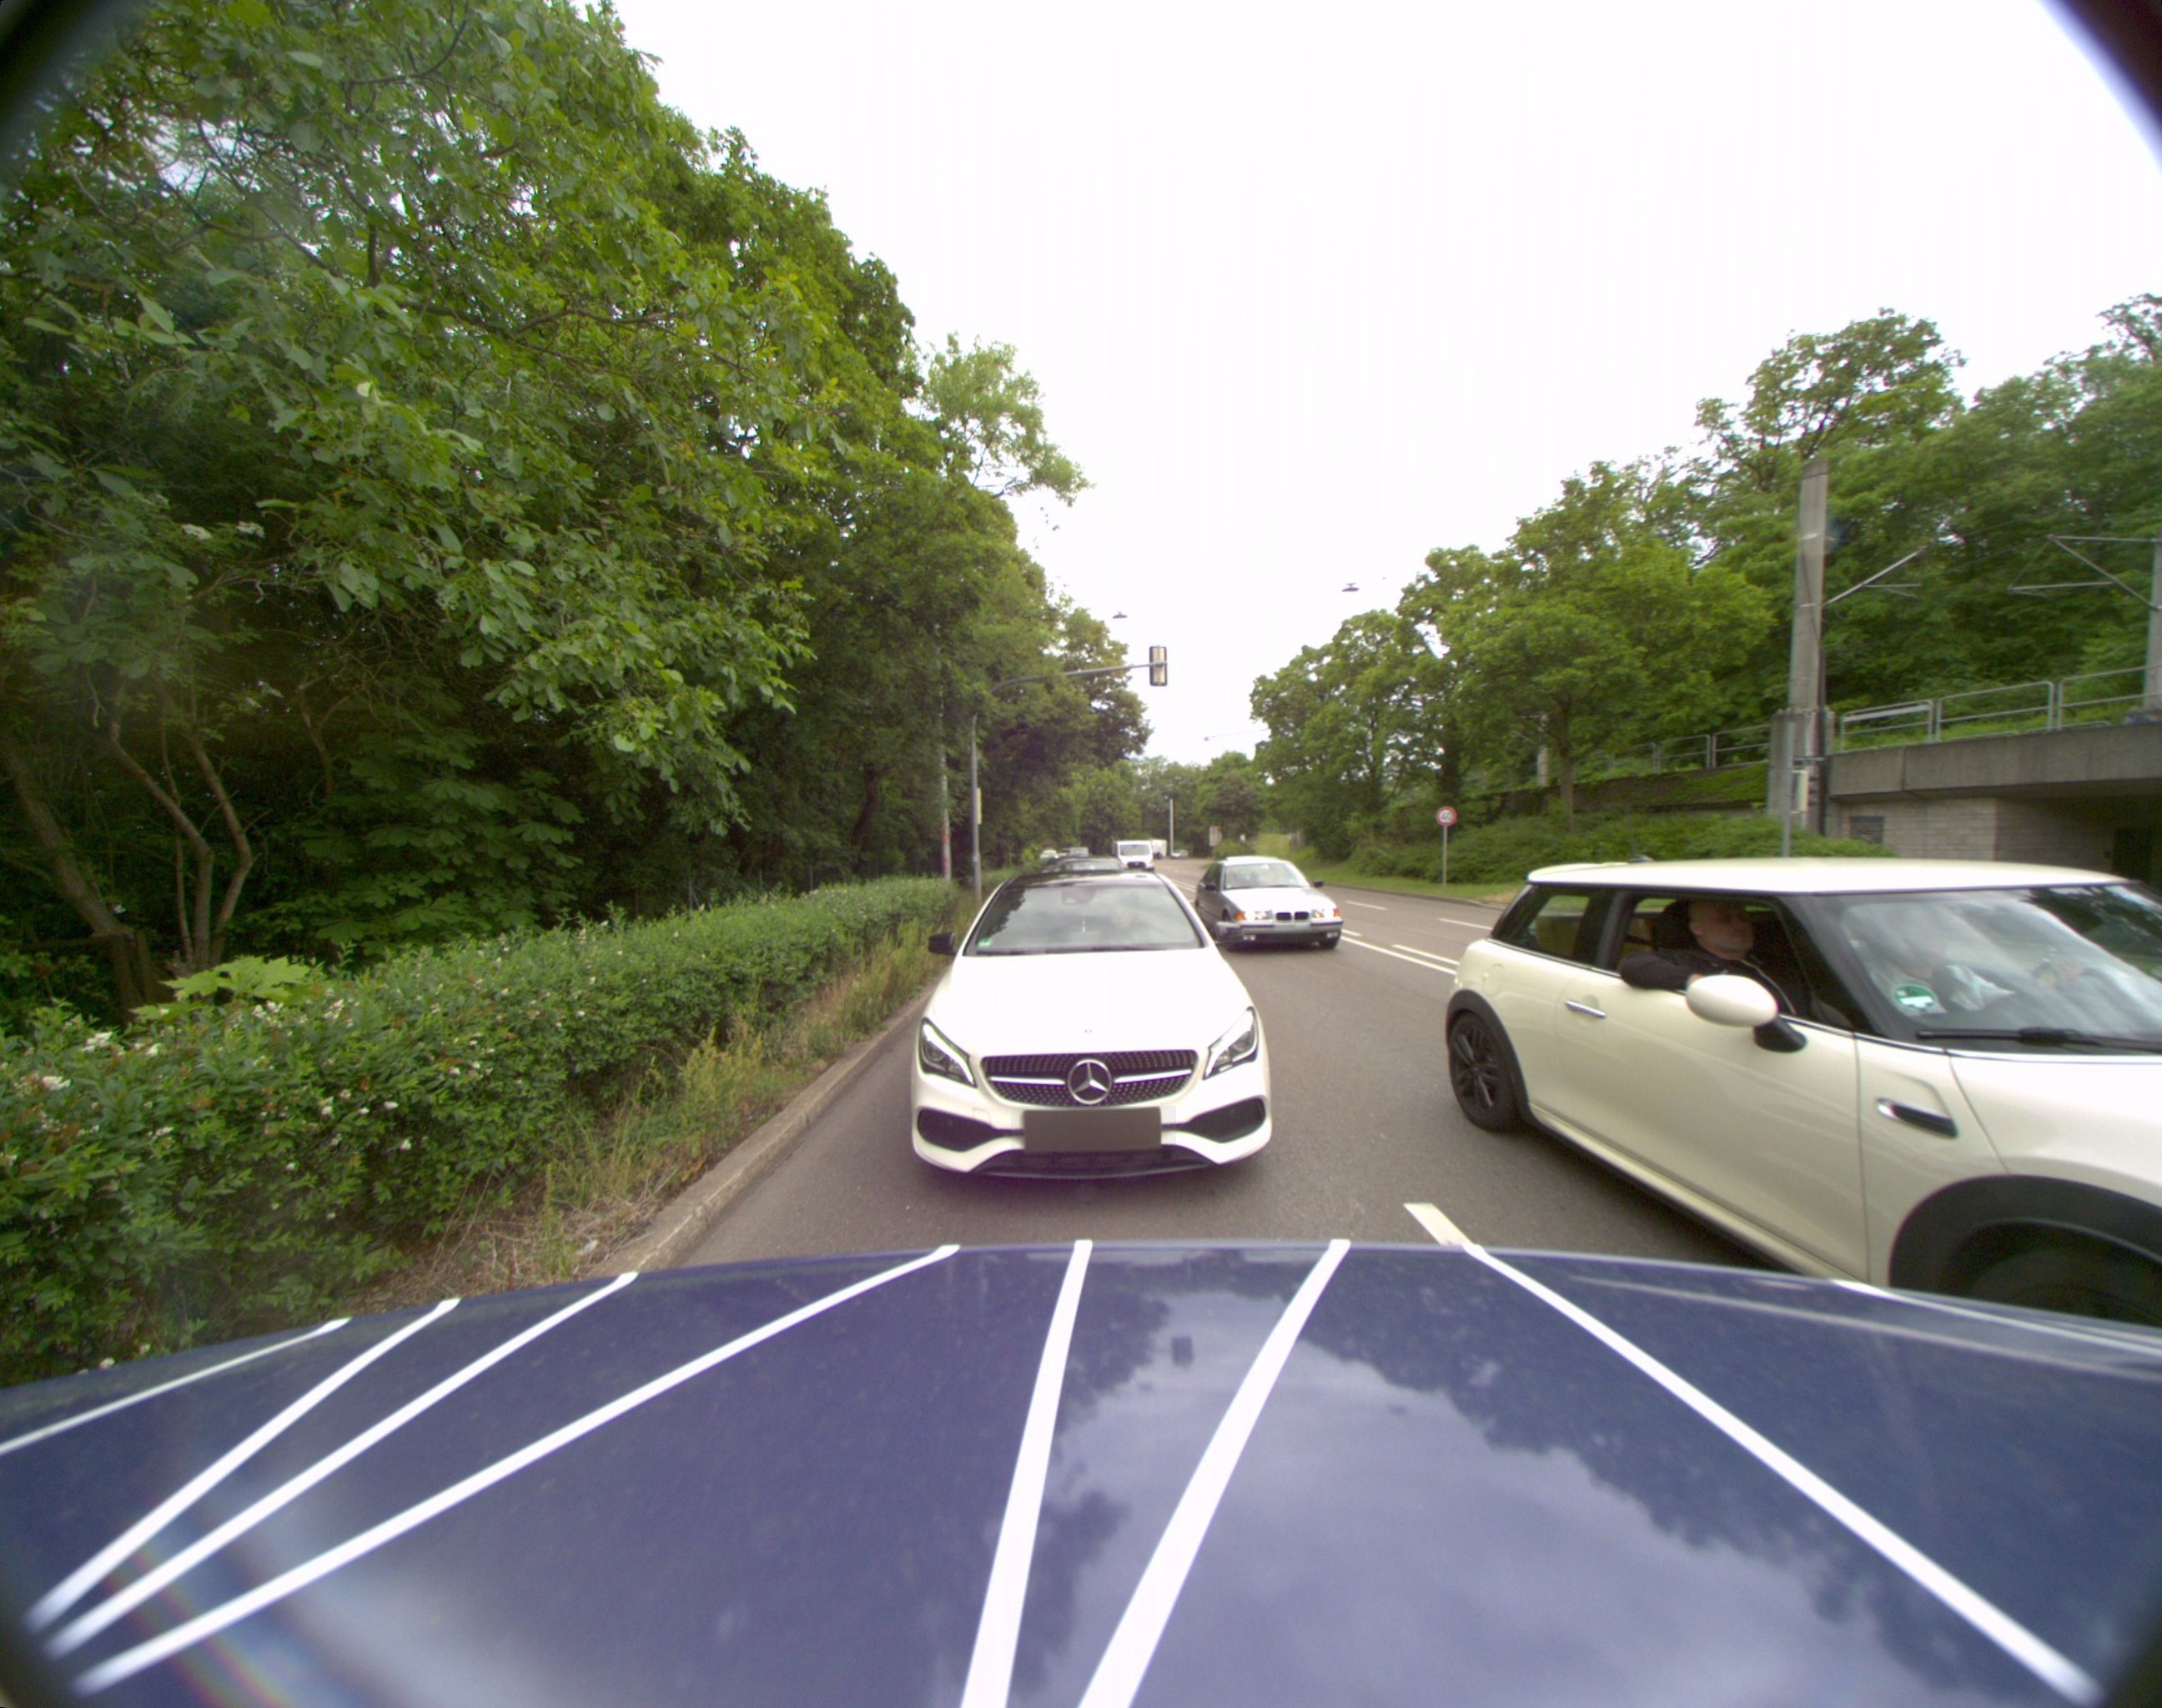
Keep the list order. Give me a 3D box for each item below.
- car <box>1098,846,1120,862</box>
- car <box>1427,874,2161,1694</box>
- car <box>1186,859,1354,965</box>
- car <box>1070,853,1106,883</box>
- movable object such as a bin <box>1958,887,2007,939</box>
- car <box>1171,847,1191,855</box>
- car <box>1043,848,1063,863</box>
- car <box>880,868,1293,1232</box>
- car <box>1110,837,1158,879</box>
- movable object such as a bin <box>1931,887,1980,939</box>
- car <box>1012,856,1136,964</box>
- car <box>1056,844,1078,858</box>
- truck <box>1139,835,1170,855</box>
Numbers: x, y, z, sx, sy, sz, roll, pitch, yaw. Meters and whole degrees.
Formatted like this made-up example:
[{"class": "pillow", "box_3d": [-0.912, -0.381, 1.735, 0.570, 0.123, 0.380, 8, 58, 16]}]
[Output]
[{"class": "car", "box_3d": [3.058, -0.019, 82.460, 1.853, 1.641, 4.360, 1, 0, 8]}, {"class": "car", "box_3d": [2.856, 0.854, 2.488, 1.688, 1.415, 3.732, -1, 0, -1]}, {"class": "car", "box_3d": [2.903, 0.817, 12.597, 1.664, 1.382, 4.182, -1, 0, -1]}, {"class": "car", "box_3d": [0.382, 0.700, 39.813, 1.765, 1.433, 3.891, 1, 0, 0]}, {"class": "movable object such as a bin", "box_3d": [19.043, 1.234, 16.048, 0.419, 1.057, 0.503, 0, 1, -4]}, {"class": "car", "box_3d": [17.175, -0.507, 130.609, 1.751, 1.354, 4.019, 4, 1, 34]}, {"class": "car", "box_3d": [-2.743, 0.145, 74.712, 1.765, 1.433, 3.891, 1, 0, 0]}, {"class": "car", "box_3d": [0.051, 0.926, 5.426, 1.801, 1.470, 4.010, -2, 0, 1]}, {"class": "car", "box_3d": [2.962, 0.198, 43.599, 2.285, 2.187, 6.458, -1, 0, 0]}, {"class": "movable object such as a bin", "box_3d": [18.357, 1.235, 15.959, 0.419, 1.057, 0.503, 0, 1, -4]}, {"class": "car", "box_3d": [-0.111, 0.833, 13.163, 1.755, 1.417, 4.009, 3, 1, 0]}, {"class": "car", "box_3d": [-1.628, -0.305, 89.891, 1.754, 1.575, 4.013, 1, 0, 10]}, {"class": "truck", "box_3d": [11.902, -1.407, 122.740, 2.195, 3.137, 6.665, 2, 1, 33]}]
